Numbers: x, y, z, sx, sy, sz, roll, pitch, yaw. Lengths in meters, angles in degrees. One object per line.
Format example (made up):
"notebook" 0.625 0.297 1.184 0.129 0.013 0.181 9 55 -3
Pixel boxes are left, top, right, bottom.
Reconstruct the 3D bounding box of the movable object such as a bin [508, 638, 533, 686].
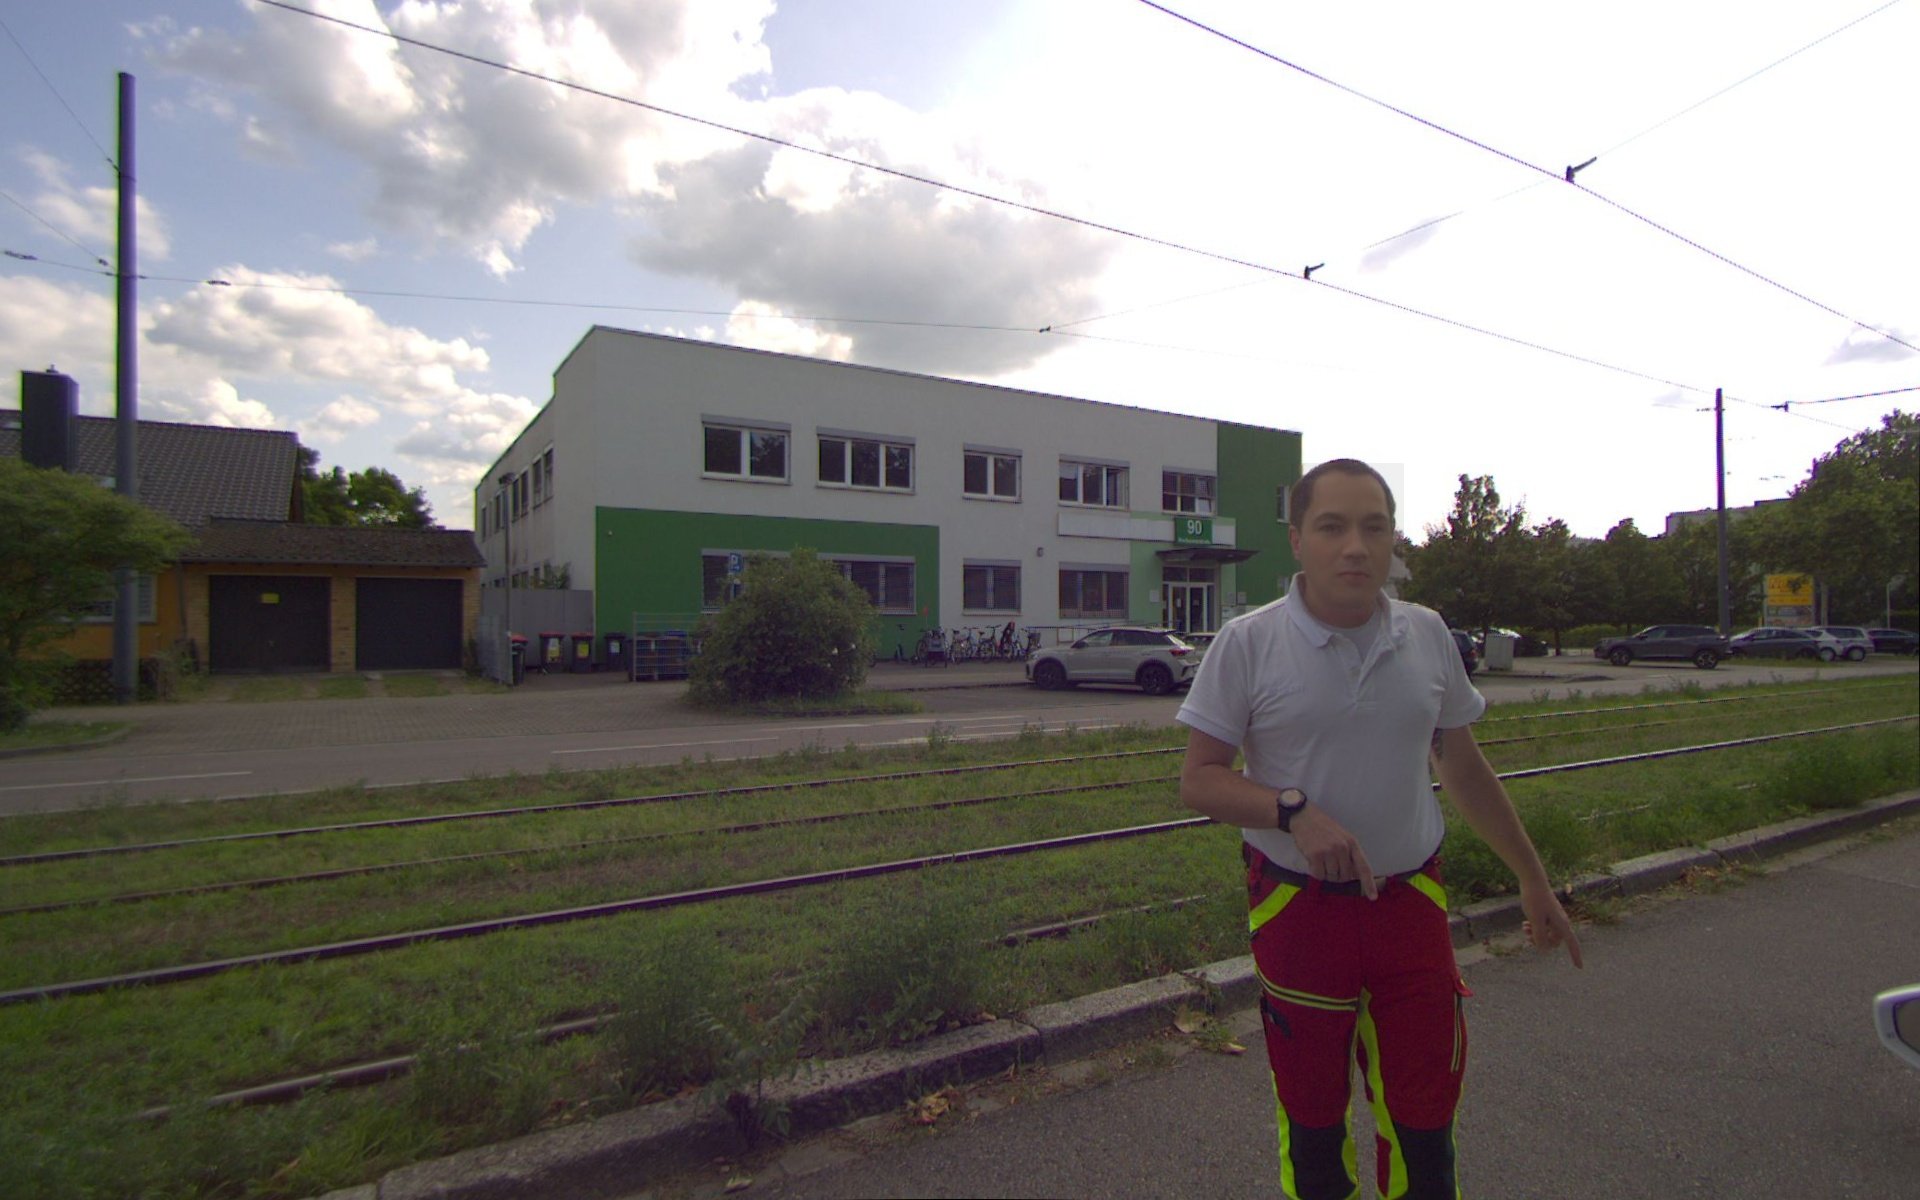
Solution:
"movable object such as a bin" -10.125 1.427 23.145 0.476 1.056 0.502 0 1 -31

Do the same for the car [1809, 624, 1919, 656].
"car" 46.191 2.018 51.095 4.151 1.501 1.883 1 -1 19

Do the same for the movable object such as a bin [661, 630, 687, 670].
"movable object such as a bin" -7.878 1.379 27.653 0.558 1.056 0.565 0 1 -31

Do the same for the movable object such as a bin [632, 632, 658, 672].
"movable object such as a bin" -8.540 1.404 27.262 0.558 1.056 0.565 0 1 -31

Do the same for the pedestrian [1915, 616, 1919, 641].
"pedestrian" 66.736 1.970 69.746 0.597 1.699 0.463 1 -1 -33

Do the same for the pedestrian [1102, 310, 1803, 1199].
"pedestrian" 0.795 0.479 1.840 0.792 1.709 0.848 1 -1 -14

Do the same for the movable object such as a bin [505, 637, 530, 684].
"movable object such as a bin" -10.405 1.421 23.626 0.474 1.056 0.491 0 1 -31

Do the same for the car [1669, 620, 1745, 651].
"car" 48.529 2.273 65.365 1.960 1.773 4.000 1 0 0

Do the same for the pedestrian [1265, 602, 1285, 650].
"pedestrian" 12.296 1.000 39.193 0.503 1.852 0.543 1 -1 -33

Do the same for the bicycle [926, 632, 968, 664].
"bicycle" -0.423 1.518 31.720 0.453 0.911 1.848 2 0 -30

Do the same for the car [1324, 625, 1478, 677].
"car" 13.570 1.537 30.947 4.160 1.501 1.880 -1 -2 30

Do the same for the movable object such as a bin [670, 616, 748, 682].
"movable object such as a bin" -6.230 1.190 24.905 1.691 1.540 1.001 0 1 -29

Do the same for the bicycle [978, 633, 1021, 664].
"bicycle" 1.284 1.574 32.805 0.453 0.911 1.848 2 0 -30

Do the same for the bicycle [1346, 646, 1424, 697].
"bicycle" 9.777 1.631 23.107 1.781 1.094 0.643 1 -1 -27

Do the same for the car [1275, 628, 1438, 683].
"car" 11.408 1.558 28.950 4.160 1.501 1.880 -1 -2 30

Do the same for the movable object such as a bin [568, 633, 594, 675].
"movable object such as a bin" -9.954 1.409 26.391 0.558 1.056 0.565 0 1 -31

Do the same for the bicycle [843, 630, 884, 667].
"bicycle" -2.903 1.435 30.053 0.453 0.999 1.848 2 0 -30

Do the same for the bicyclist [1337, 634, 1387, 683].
"bicyclist" 9.515 1.362 23.786 0.916 1.127 0.637 1 -1 -27

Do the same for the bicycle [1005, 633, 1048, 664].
"bicycle" 2.194 1.596 33.317 0.453 0.911 1.848 2 0 -30

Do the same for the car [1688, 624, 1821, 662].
"car" 34.391 1.818 43.605 4.154 1.501 1.882 1 -1 23

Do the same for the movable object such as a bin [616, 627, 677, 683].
"movable object such as a bin" -7.544 1.310 24.144 1.241 1.251 1.001 0 1 -29

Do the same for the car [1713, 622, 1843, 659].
"car" 36.741 1.798 45.260 4.154 1.501 1.882 1 -1 23

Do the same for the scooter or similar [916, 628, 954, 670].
"scooter or similar" -0.739 1.436 29.655 1.073 1.171 1.306 2 0 -2

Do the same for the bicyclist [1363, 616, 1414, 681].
"bicyclist" 9.884 1.108 23.169 0.916 1.477 0.621 0 -1 -26

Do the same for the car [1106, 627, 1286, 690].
"car" 6.085 1.466 25.966 4.160 1.501 1.880 -1 -2 30

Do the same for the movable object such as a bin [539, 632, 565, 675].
"movable object such as a bin" -10.562 1.380 25.989 0.558 1.056 0.565 0 1 -31

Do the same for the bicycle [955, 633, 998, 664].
"bicycle" 0.524 1.549 32.342 0.453 0.911 1.848 2 0 -30

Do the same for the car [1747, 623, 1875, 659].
"car" 39.402 1.860 46.643 4.154 1.501 1.882 1 -1 23

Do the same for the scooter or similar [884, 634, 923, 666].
"scooter or similar" -1.769 1.530 31.031 0.453 0.911 1.726 2 0 -30

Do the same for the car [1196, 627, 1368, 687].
"car" 8.750 1.508 27.347 4.160 1.501 1.880 -1 -2 30

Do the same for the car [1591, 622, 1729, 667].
"car" 26.206 1.625 37.759 4.164 1.501 1.878 1 -1 34

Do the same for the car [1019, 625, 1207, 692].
"car" 3.696 1.377 24.280 4.155 1.501 1.882 -1 -2 25

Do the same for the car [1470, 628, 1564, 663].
"car" 29.204 2.368 52.773 1.755 1.586 3.970 2 0 -28

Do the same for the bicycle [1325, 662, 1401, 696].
"bicycle" 9.550 1.863 23.796 1.781 0.727 0.643 1 -1 -26

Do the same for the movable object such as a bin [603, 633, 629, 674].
"movable object such as a bin" -9.199 1.416 26.888 0.558 1.056 0.565 0 1 -31
